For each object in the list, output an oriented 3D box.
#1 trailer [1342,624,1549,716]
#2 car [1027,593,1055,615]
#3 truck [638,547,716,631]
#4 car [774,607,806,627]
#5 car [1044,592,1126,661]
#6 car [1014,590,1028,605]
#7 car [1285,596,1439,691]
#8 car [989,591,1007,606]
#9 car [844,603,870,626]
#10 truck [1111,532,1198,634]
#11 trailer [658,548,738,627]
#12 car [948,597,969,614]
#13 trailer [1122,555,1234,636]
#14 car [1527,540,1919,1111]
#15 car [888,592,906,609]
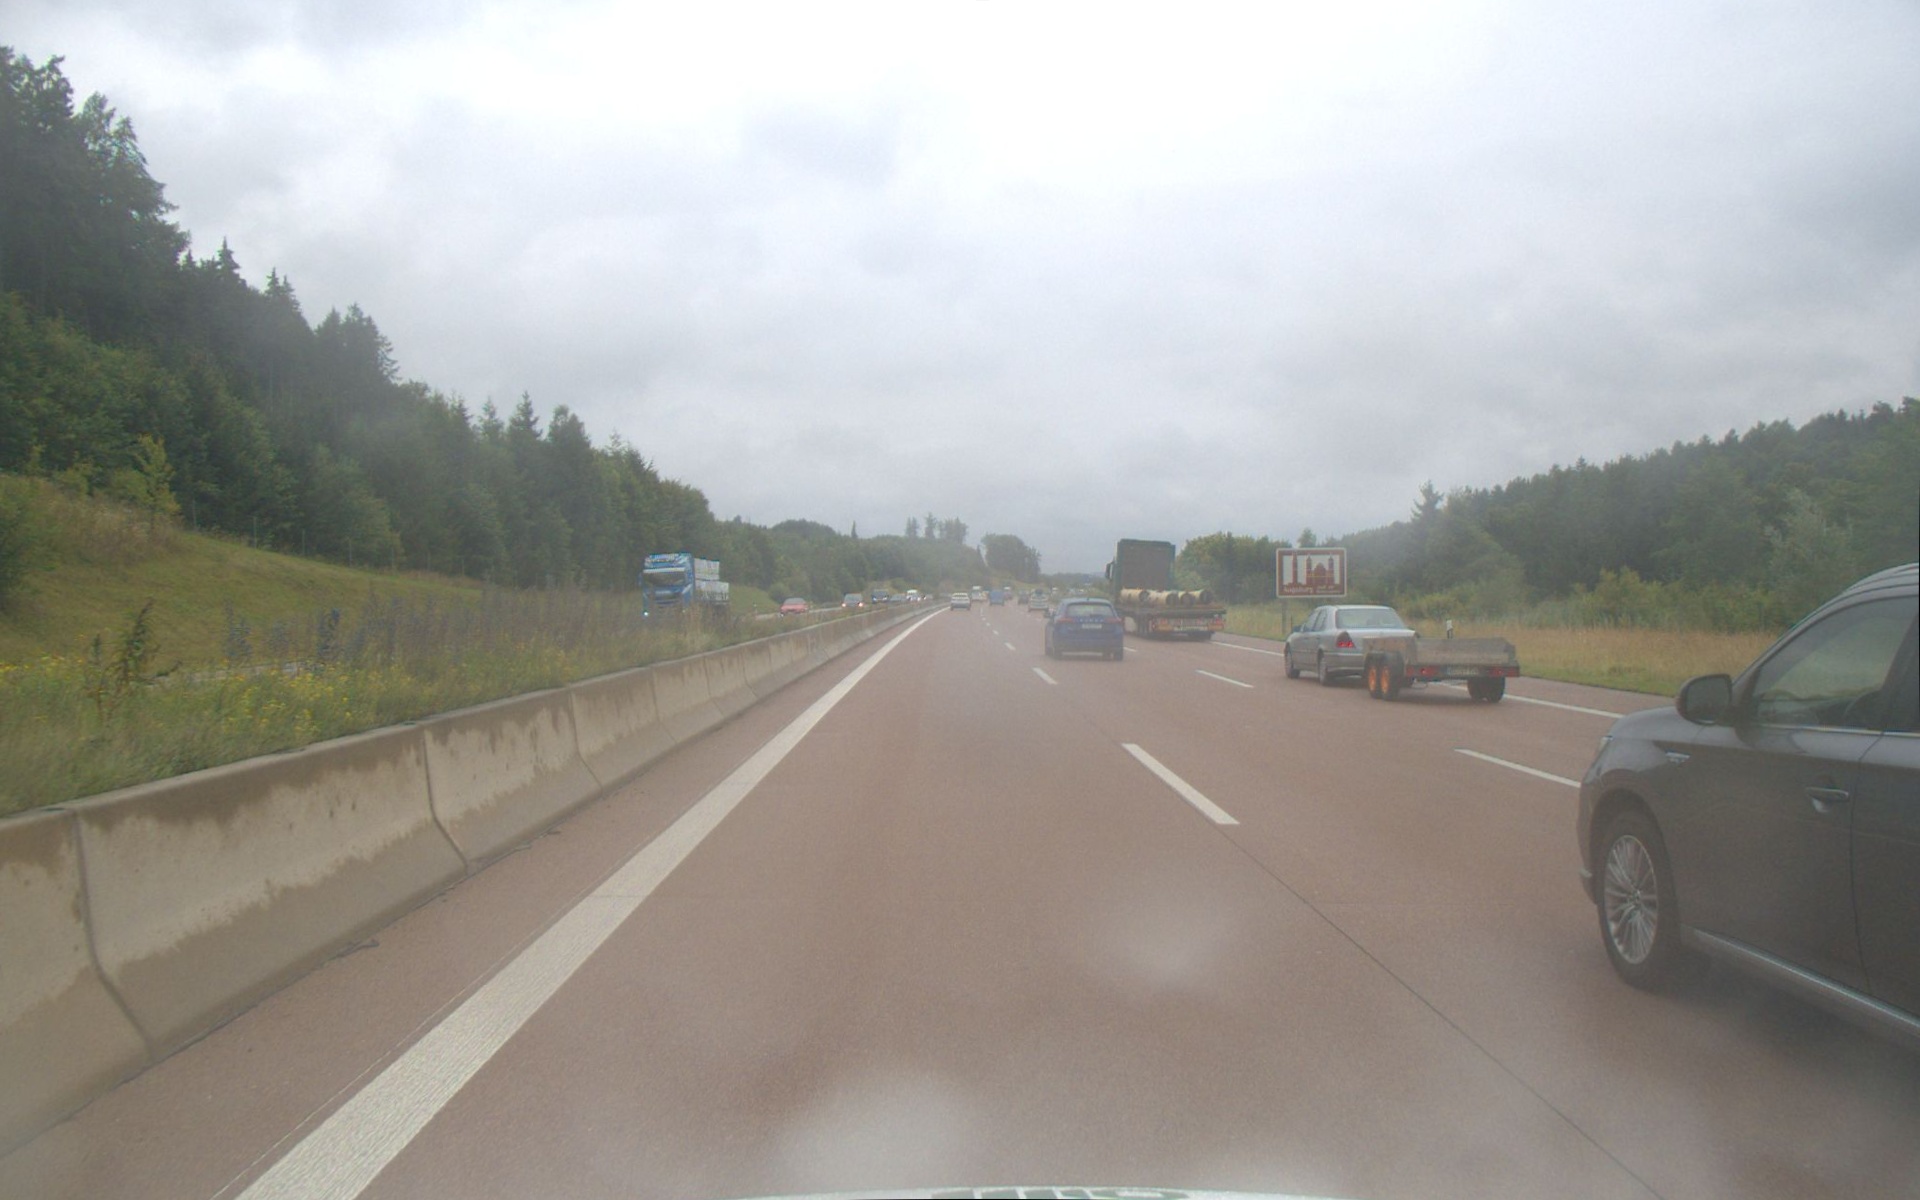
[{"bbox_3d":[7.538,1.038,26.164,1.931,1.187,4.639,1,0,0],"label":"trailer"},{"bbox_3d":[7.205,0.368,147.344,2.274,1.780,4.877,1,-1,1],"label":"car"},{"bbox_3d":[-15.865,-0.669,93.223,2.904,4.395,7.648,-4,1,-1],"label":"truck"},{"bbox_3d":[-12.324,1.281,120.115,1.781,1.393,5.113,1,-1,-1],"label":"car"},{"bbox_3d":[3.060,0.653,41.103,1.735,1.591,4.146,1,-1,1],"label":"car"},{"bbox_3d":[8.599,-0.365,233.375,1.952,2.049,4.000,1,-1,0],"label":"car"},{"bbox_3d":[7.402,0.774,30.944,1.663,1.640,4.976,0,-1,0],"label":"car"},{"bbox_3d":[4.762,-0.122,207.824,2.274,1.780,4.877,1,-1,1],"label":"car"},{"bbox_3d":[-8.544,1.236,137.387,1.781,1.874,6.236,1,-1,-1],"label":"car"},{"bbox_3d":[8.090,-0.636,69.657,2.837,4.034,6.988,1,-1,0],"label":"truck"},{"bbox_3d":[-16.023,-0.814,102.215,2.874,4.349,12.943,-4,1,-1],"label":"trailer"},{"bbox_3d":[-0.144,0.486,153.057,1.836,1.470,4.875,1,-1,-2],"label":"car"},{"bbox_3d":[8.006,-0.062,62.198,2.822,2.722,11.398,1,-1,1],"label":"trailer"},{"bbox_3d":[3.706,0.657,4.878,1.953,1.620,5.818,1,-1,-1],"label":"car"},{"bbox_3d":[-7.457,0.118,196.357,1.739,1.889,5.323,1,-1,3],"label":"car"}]
